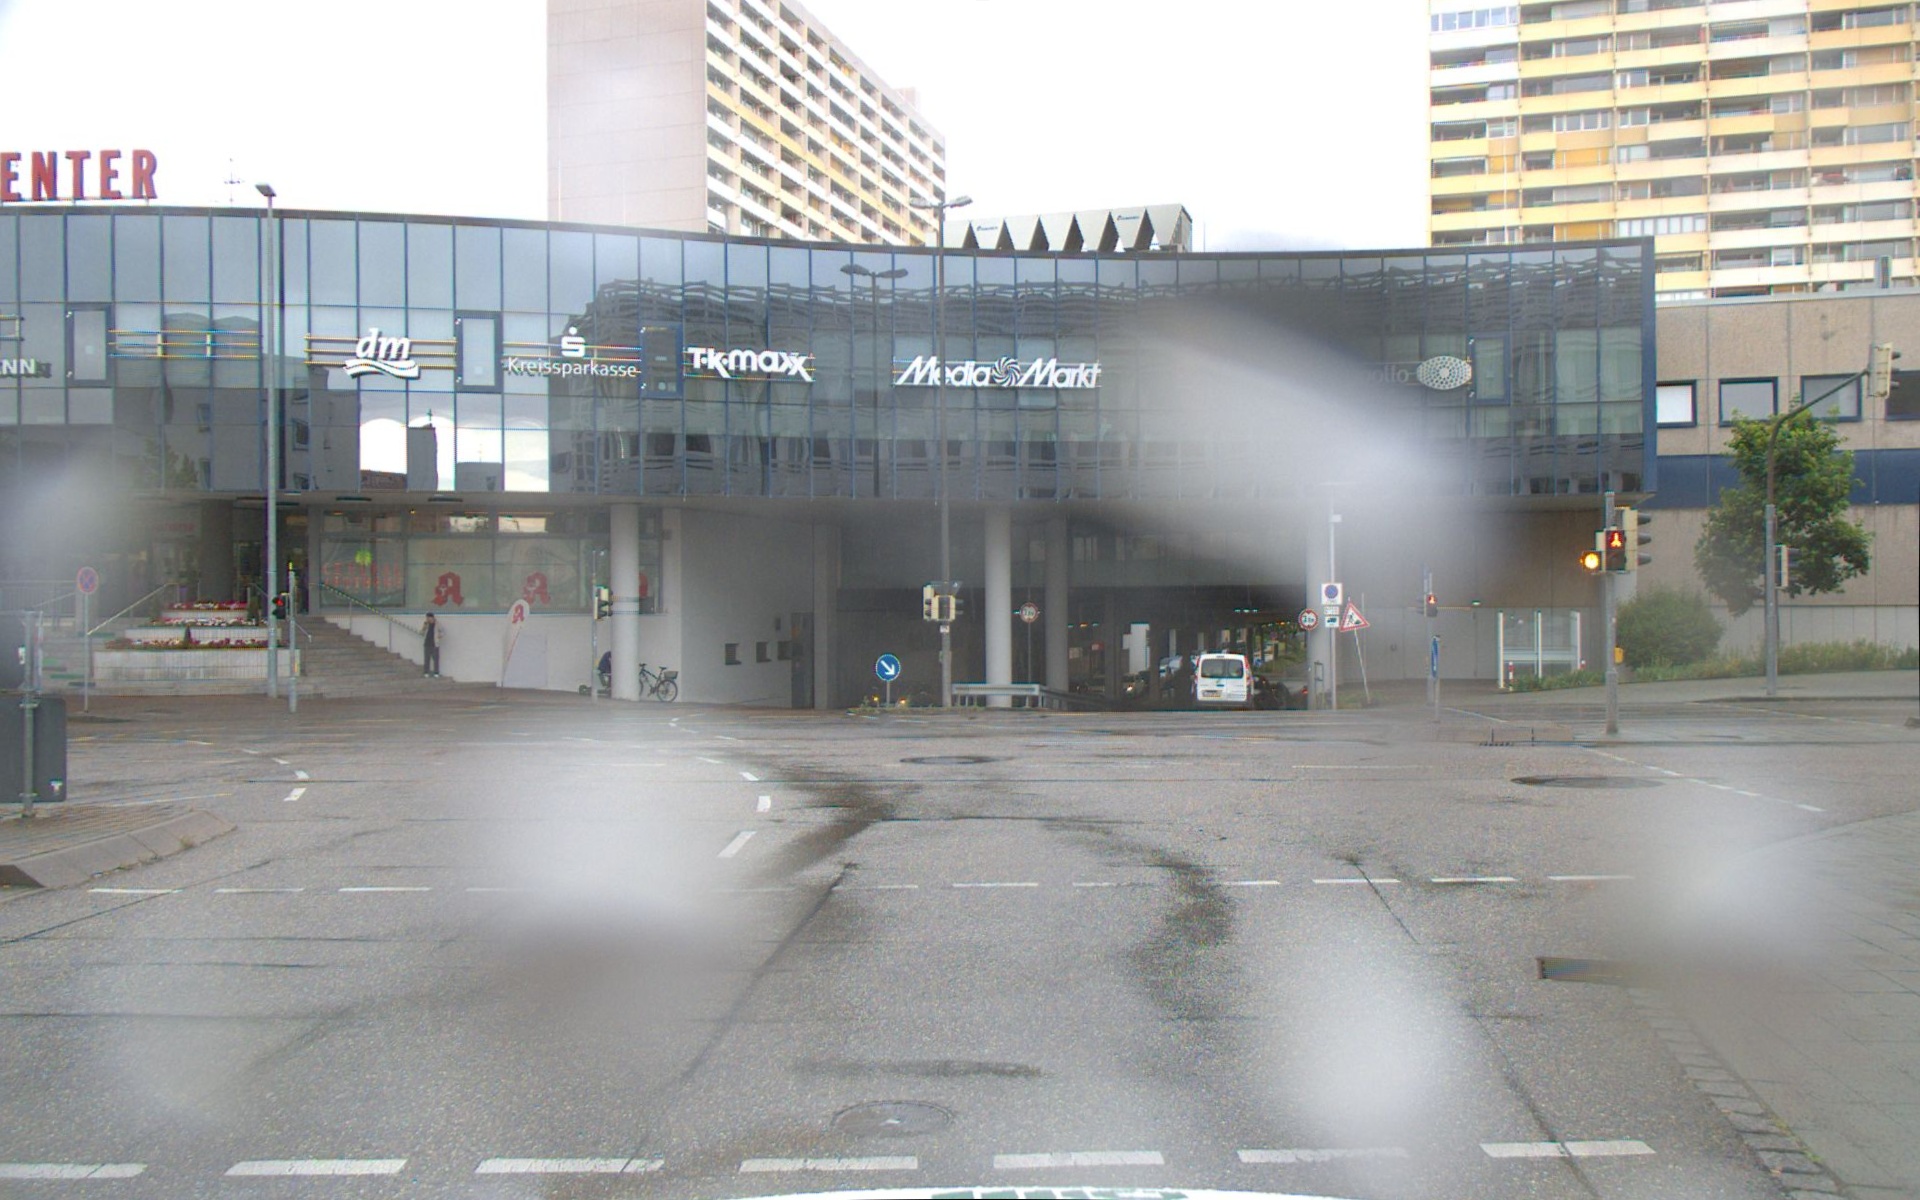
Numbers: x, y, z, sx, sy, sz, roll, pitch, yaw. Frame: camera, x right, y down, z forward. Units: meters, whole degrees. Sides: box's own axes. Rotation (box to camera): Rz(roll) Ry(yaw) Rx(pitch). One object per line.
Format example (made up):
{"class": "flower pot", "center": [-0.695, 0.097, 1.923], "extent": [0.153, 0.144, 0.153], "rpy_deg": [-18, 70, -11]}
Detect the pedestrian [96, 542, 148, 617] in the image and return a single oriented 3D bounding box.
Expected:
{"class": "pedestrian", "center": [-23.320, -0.552, 46.057], "extent": [0.812, 2.049, 0.953], "rpy_deg": [1, -1, 14]}

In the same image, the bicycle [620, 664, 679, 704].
{"class": "bicycle", "center": [-9.048, 2.462, 48.261], "extent": [1.566, 1.036, 0.447], "rpy_deg": [7, -4, -32]}

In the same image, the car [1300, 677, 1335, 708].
{"class": "car", "center": [19.717, 5.077, 91.073], "extent": [1.847, 1.517, 3.844], "rpy_deg": [1, -1, 13]}

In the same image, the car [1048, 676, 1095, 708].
{"class": "car", "center": [6.167, 5.050, 91.249], "extent": [1.874, 1.616, 3.941], "rpy_deg": [-1, -2, 15]}

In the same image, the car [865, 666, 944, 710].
{"class": "car", "center": [-2.060, 3.342, 62.572], "extent": [1.852, 1.496, 4.029], "rpy_deg": [-1, -5, 16]}

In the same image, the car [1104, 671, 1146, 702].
{"class": "car", "center": [10.206, 5.301, 101.859], "extent": [1.951, 1.693, 4.003], "rpy_deg": [1, -1, 15]}

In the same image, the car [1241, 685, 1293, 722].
{"class": "car", "center": [12.258, 4.127, 65.919], "extent": [1.741, 1.425, 4.002], "rpy_deg": [-1, -4, 15]}

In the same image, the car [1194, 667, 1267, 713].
{"class": "car", "center": [9.284, 3.109, 56.554], "extent": [1.721, 1.490, 3.942], "rpy_deg": [-2, -4, 20]}

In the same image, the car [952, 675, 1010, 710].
{"class": "car", "center": [0.980, 4.158, 74.325], "extent": [1.733, 1.490, 3.878], "rpy_deg": [-1, -3, 15]}

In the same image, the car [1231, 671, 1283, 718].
{"class": "car", "center": [10.995, 3.498, 61.033], "extent": [1.598, 1.640, 4.265], "rpy_deg": [-2, -4, 14]}

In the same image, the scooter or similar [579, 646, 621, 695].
{"class": "scooter or similar", "center": [-10.438, 2.050, 47.964], "extent": [1.147, 1.397, 0.487], "rpy_deg": [1, -1, -16]}

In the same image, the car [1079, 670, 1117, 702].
{"class": "car", "center": [8.034, 4.981, 96.002], "extent": [1.797, 1.758, 4.003], "rpy_deg": [-1, -1, 11]}

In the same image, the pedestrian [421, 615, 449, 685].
{"class": "pedestrian", "center": [-14.826, 1.409, 46.735], "extent": [0.643, 1.942, 0.593], "rpy_deg": [1, -1, -9]}

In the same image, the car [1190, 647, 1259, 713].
{"class": "car", "center": [7.816, 2.341, 48.668], "extent": [1.884, 1.829, 4.299], "rpy_deg": [-1, -2, 10]}
